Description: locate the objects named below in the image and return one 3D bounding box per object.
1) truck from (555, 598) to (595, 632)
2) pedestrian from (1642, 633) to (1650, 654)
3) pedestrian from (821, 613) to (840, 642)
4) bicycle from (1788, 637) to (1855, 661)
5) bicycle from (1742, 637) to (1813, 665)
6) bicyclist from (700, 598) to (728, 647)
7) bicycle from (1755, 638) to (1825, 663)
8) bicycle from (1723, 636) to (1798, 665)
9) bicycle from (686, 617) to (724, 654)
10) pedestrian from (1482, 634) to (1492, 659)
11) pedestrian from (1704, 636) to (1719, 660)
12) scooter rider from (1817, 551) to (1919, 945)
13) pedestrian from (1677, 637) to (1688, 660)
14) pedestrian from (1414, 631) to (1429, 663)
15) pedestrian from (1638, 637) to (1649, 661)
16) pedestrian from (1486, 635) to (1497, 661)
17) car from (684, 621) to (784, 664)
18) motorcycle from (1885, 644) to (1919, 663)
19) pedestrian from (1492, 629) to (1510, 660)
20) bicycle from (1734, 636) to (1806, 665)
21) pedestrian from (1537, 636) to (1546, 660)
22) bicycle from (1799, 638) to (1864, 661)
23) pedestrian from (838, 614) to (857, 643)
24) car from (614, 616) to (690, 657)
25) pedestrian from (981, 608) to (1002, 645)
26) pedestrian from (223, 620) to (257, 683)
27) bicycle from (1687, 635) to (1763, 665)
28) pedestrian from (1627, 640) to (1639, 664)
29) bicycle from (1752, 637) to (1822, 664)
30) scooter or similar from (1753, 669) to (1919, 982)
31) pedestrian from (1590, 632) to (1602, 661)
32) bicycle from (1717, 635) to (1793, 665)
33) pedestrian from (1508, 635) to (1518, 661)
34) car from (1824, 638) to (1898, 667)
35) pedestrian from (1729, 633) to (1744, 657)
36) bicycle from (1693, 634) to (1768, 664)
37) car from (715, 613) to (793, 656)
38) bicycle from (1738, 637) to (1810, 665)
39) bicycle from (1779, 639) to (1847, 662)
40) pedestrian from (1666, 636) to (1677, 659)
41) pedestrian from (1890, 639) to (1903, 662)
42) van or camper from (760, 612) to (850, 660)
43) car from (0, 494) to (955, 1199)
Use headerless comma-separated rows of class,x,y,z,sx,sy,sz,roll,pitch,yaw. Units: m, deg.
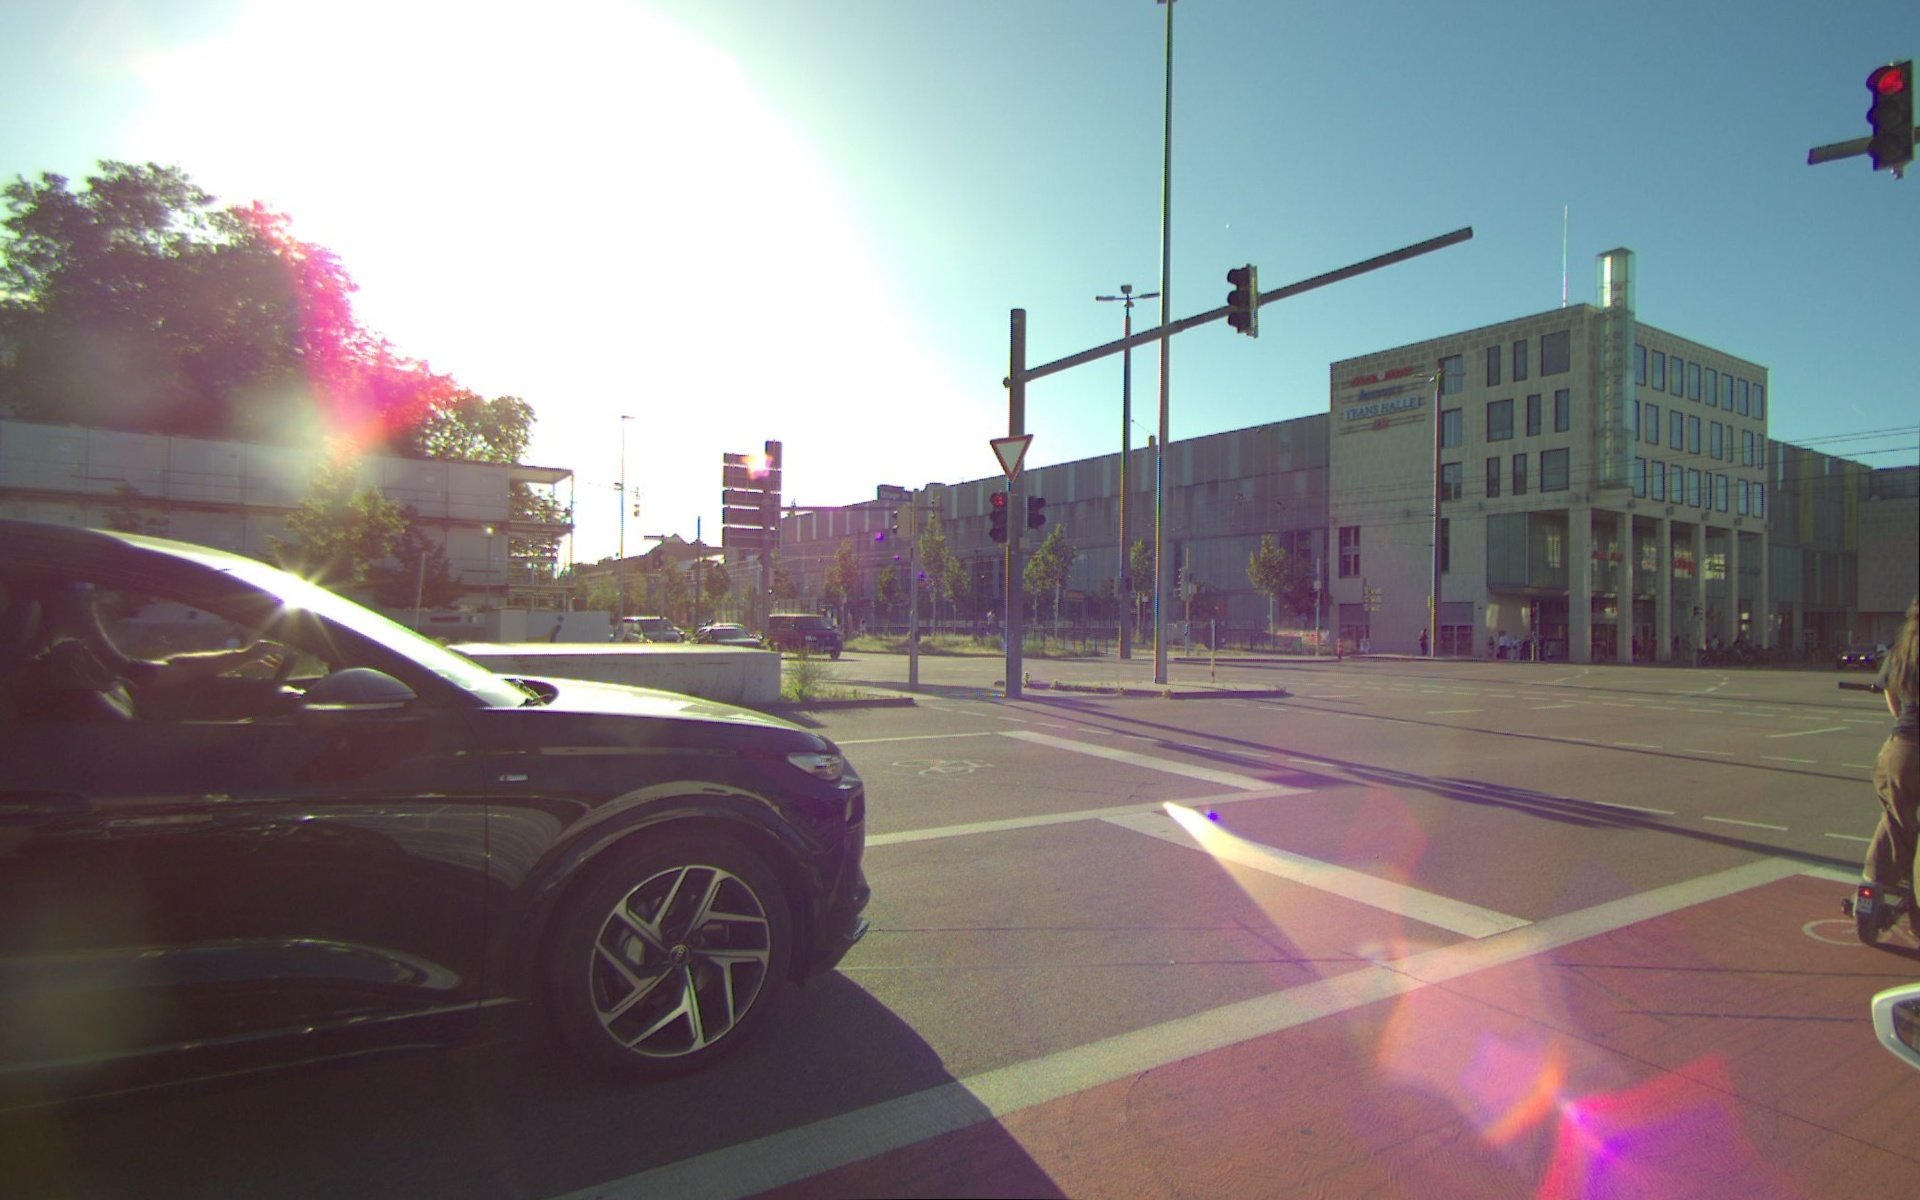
truck,-33.479,1.322,87.250,1.979,2.875,6.293,1,-2,-33
pedestrian,47.806,3.044,70.020,0.363,1.458,0.384,1,-1,-34
pedestrian,-8.450,1.783,65.298,0.891,1.855,0.785,3,-2,-41
bicycle,60.382,3.430,70.474,0.979,1.547,3.462,2,-2,-40
bicycle,52.859,3.255,64.965,0.979,1.719,3.462,1,-2,-40
bicyclist,-13.755,1.276,56.103,1.007,2.677,1.610,1,-1,-34
bicycle,55.256,3.326,66.924,0.979,1.547,3.462,2,-2,-40
bicycle,49.144,3.076,61.742,1.107,1.719,3.465,1,-2,-38
bicycle,-14.607,2.010,57.360,1.007,2.040,3.472,1,-2,-33
pedestrian,32.333,2.863,61.658,0.454,1.521,0.418,1,-1,-41
pedestrian,51.212,3.258,68.420,0.775,1.664,0.692,0,-1,40
scooter rider,4.735,0.684,4.818,0.801,1.798,0.725,1,-1,-30
pedestrian,51.596,3.440,71.749,0.592,1.606,0.479,1,-1,-34
pedestrian,24.589,2.492,53.522,0.543,1.716,0.521,1,-1,-40
pedestrian,44.992,3.225,66.106,0.508,1.530,0.479,1,-1,-34
pedestrian,32.630,2.918,61.719,0.452,1.586,0.420,1,-1,-30
car,-9.397,1.702,41.513,2.313,1.671,4.821,1,-2,-37
motorcycle,70.746,4.013,75.088,0.713,1.335,2.260,1,-2,-34
pedestrian,32.337,2.657,60.040,0.729,1.822,0.752,1,-1,-34
bicycle,51.120,3.187,63.427,0.979,1.719,3.462,1,-2,-40
pedestrian,34.916,2.889,60.299,0.381,1.445,0.501,0,-1,37
bicycle,62.666,3.521,72.256,0.979,1.547,3.462,2,-2,-40
pedestrian,-7.158,1.797,63.883,0.889,1.855,0.787,1,-1,-35
car,-14.829,1.701,48.144,1.981,1.849,4.821,1,-2,-36
pedestrian,1.585,1.319,50.594,0.788,1.855,0.706,1,-1,-37
pedestrian,-19.335,1.372,26.992,0.619,1.674,0.935,1,-1,-30
bicycle,45.700,2.973,60.035,1.107,1.719,3.465,1,-2,-38
pedestrian,44.226,3.403,65.992,0.508,1.606,0.479,1,-1,-34
bicycle,54.505,3.317,66.255,0.979,1.719,3.462,1,-2,-40
scooter or similar,4.526,0.966,4.709,1.645,1.218,0.725,1,-1,-30
pedestrian,36.608,2.671,57.810,0.532,1.664,0.549,0,-1,28
bicycle,48.215,3.009,60.941,1.107,1.719,3.465,1,-2,-38
pedestrian,33.807,2.932,61.423,0.453,1.547,0.418,1,-1,-37
car,49.954,2.900,55.677,3.953,1.505,1.984,1,-1,-30
pedestrian,53.074,3.069,68.646,0.689,1.664,0.648,1,-1,-38
bicycle,46.585,2.959,60.806,1.107,1.719,3.465,1,-2,-38
car,-10.390,1.693,50.419,1.981,2.040,4.821,1,-2,-36
bicycle,51.946,3.224,64.161,0.979,1.719,3.462,1,-2,-40
bicycle,58.874,3.476,69.392,0.979,1.547,3.462,2,-2,-40
pedestrian,51.007,3.423,72.039,0.592,1.606,0.479,1,-1,-34
pedestrian,70.961,3.813,76.144,0.694,1.664,0.686,2,-2,-44
van or camper,-7.063,1.586,45.350,1.981,2.040,4.821,1,-2,-36
car,-2.457,0.610,3.102,4.564,1.666,1.923,1,-1,-31
